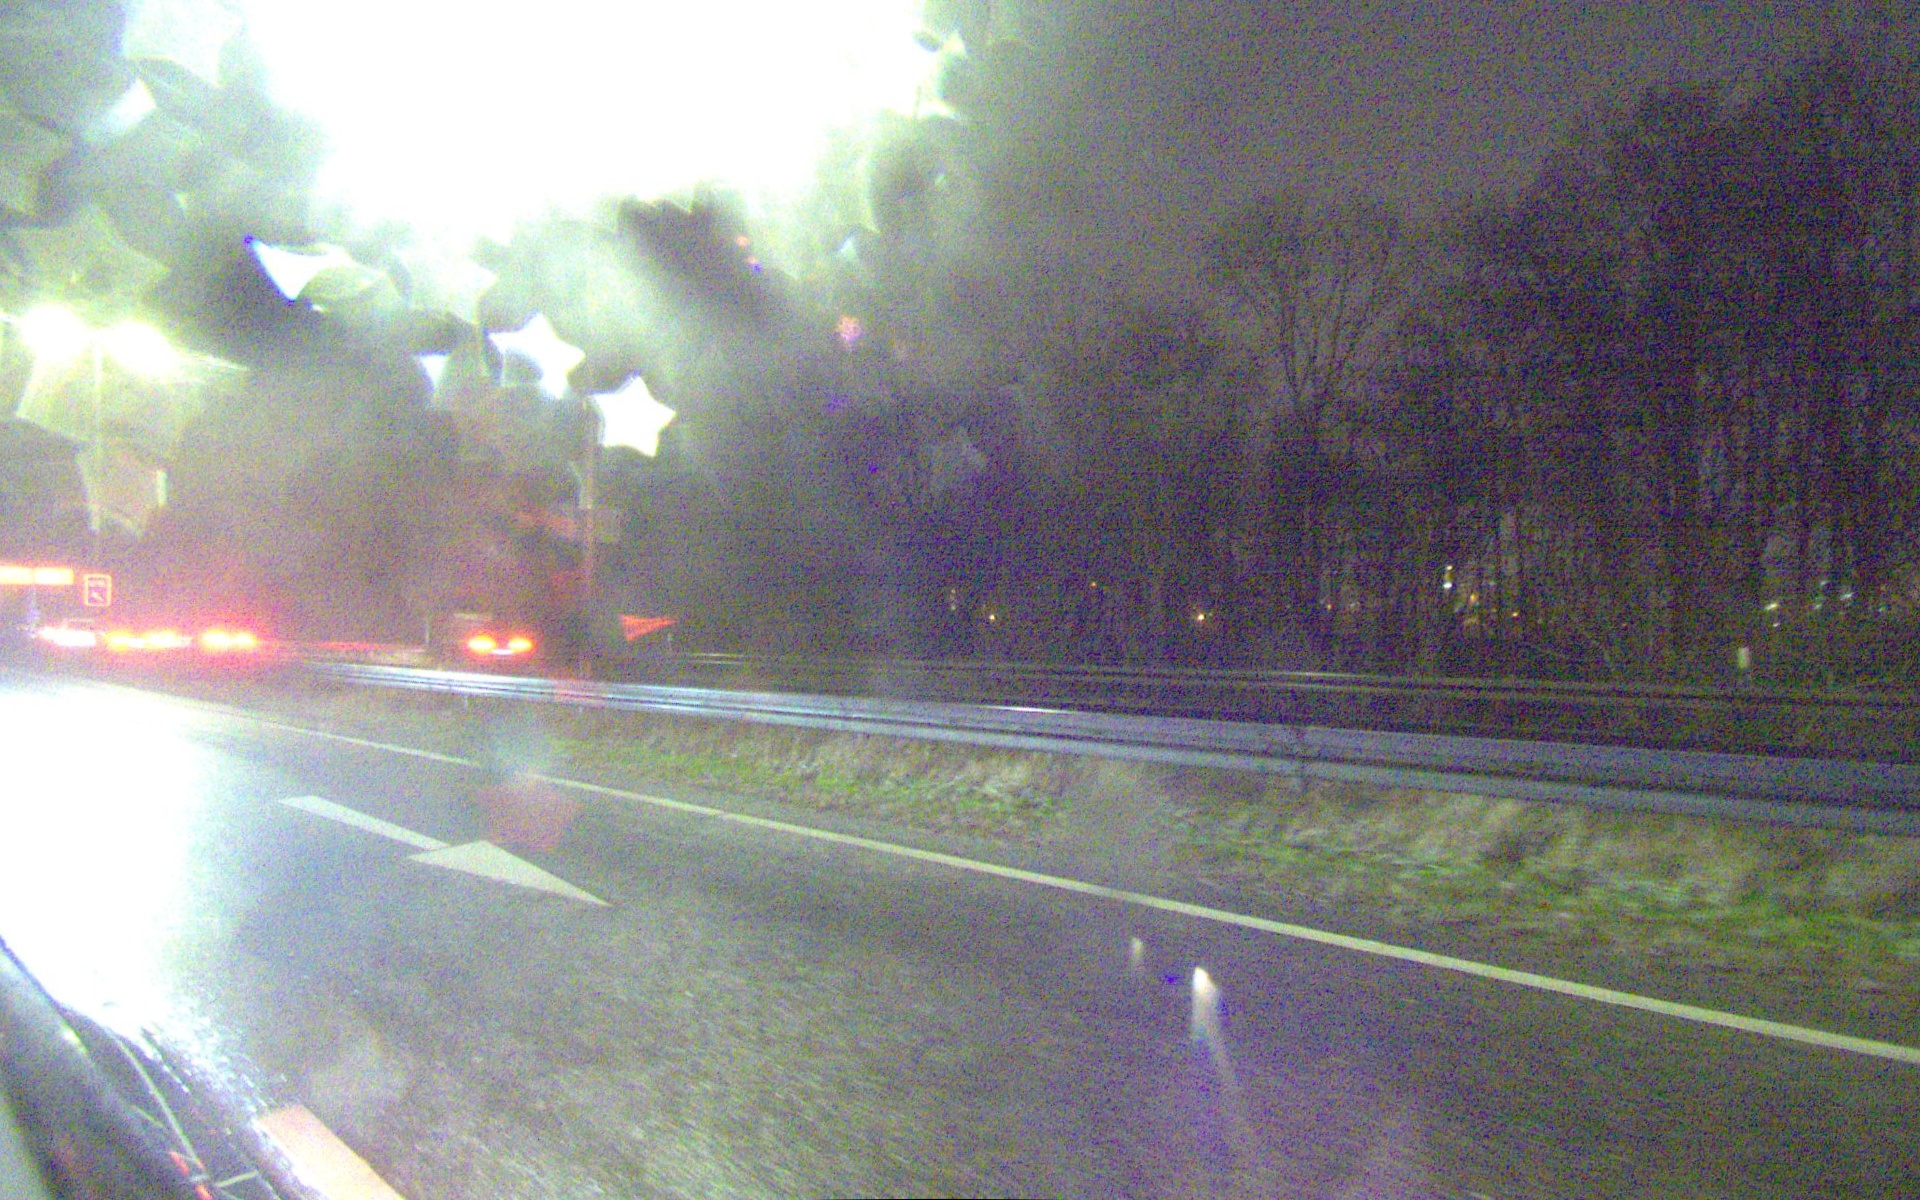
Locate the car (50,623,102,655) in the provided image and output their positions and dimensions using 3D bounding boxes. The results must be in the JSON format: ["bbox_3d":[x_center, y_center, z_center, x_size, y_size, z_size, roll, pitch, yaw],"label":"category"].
[{"bbox_3d":[-48.450,2.093,55.442,4.000,1.660,1.764,-2,-1,43],"label":"car"}]

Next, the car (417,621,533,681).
[{"bbox_3d":[-14.797,1.501,30.807,4.000,1.660,1.842,-2,-1,43],"label":"car"}]

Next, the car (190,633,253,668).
[{"bbox_3d":[-37.474,2.507,51.333,3.999,1.660,1.793,-2,-1,42],"label":"car"}]

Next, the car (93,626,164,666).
[{"bbox_3d":[-37.048,2.026,45.046,3.997,1.660,1.765,-2,-1,40],"label":"car"}]
